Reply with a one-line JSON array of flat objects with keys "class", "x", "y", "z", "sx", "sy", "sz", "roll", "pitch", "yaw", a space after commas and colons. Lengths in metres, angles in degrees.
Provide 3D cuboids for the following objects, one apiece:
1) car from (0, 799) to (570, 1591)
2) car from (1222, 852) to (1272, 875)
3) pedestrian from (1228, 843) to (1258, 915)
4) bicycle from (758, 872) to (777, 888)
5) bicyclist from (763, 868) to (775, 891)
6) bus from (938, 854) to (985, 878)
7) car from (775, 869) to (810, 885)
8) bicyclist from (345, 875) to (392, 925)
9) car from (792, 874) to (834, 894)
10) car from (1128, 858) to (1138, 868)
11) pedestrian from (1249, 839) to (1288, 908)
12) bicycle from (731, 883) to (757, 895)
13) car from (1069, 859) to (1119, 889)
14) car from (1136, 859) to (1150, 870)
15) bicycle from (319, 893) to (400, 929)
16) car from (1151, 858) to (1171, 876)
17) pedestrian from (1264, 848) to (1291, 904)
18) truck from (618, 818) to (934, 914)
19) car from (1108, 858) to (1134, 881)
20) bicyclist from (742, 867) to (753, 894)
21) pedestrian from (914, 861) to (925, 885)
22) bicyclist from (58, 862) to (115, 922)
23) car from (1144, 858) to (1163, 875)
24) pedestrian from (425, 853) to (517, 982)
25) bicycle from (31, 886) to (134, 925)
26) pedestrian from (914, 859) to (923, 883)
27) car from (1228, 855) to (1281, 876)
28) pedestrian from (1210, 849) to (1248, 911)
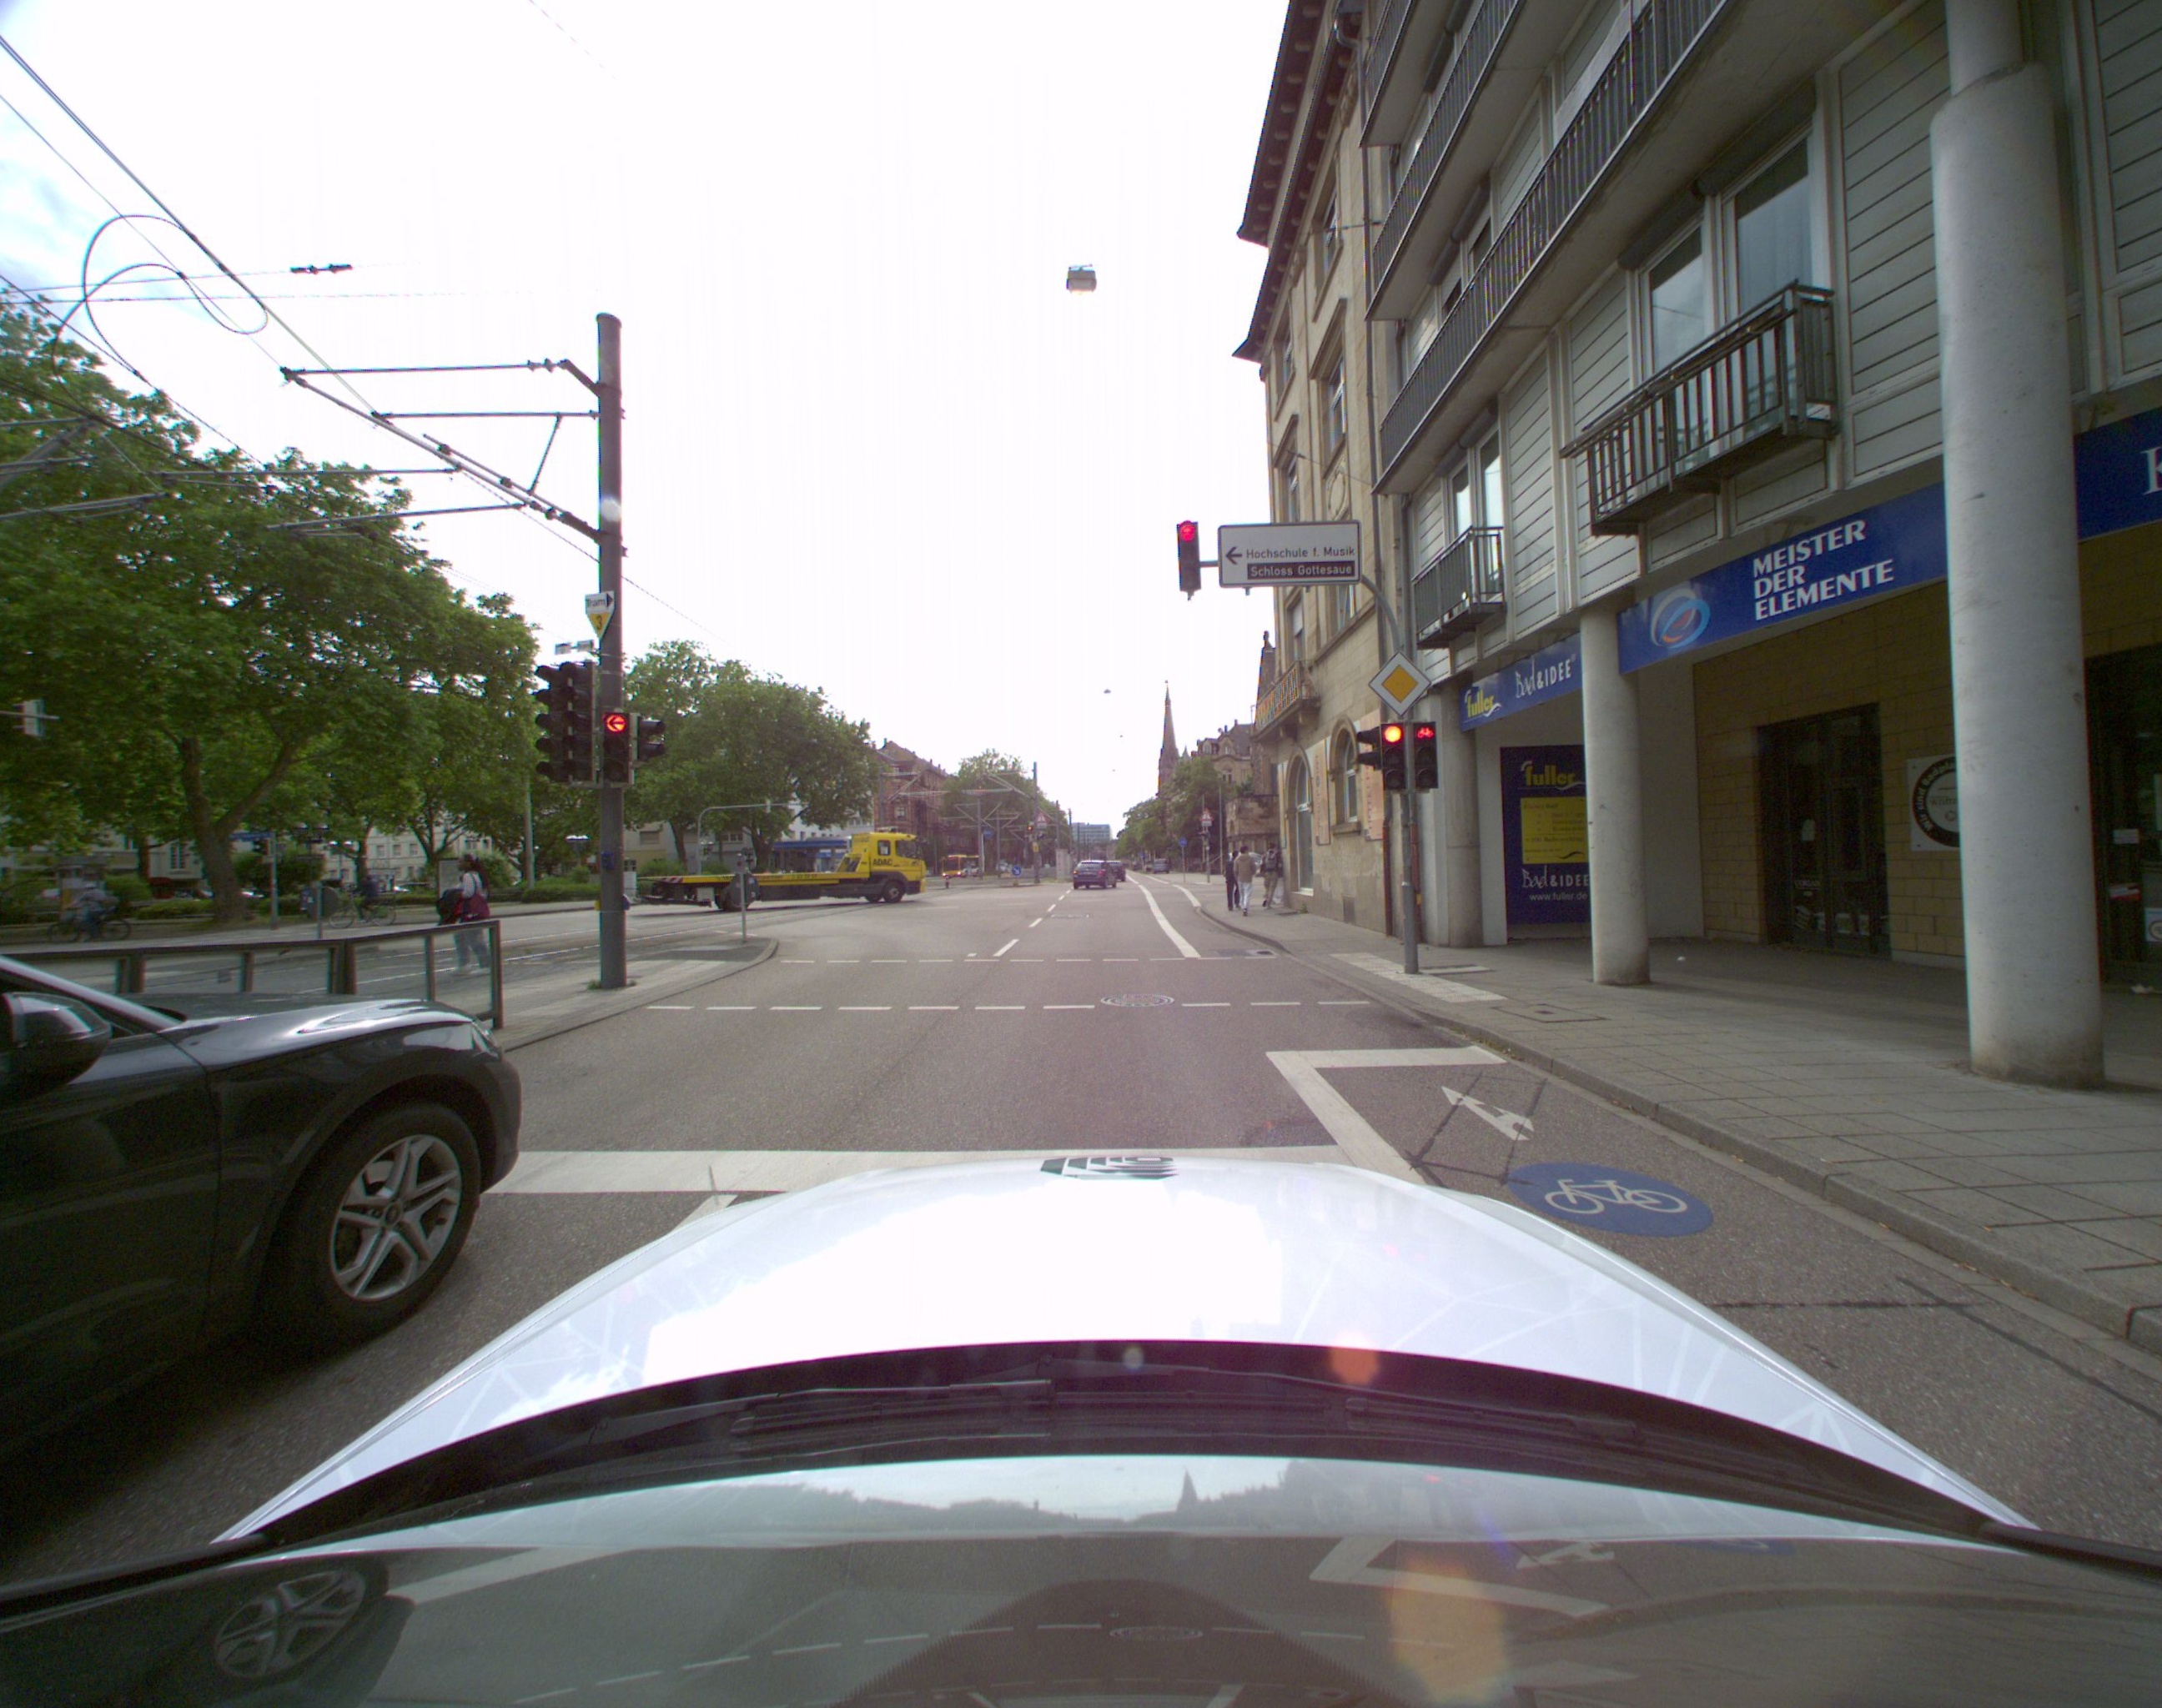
[{"class": "car", "x": -3.139, "y": 0.699, "z": 1.260, "sx": 1.873, "sy": 1.601, "sz": 4.358, "roll": -1, "pitch": -1, "yaw": 1}, {"class": "car", "x": 13.870, "y": 0.779, "z": 68.158, "sx": 3.785, "sy": 1.904, "sz": 2.001, "roll": 0, "pitch": -1, "yaw": 1}, {"class": "pedestrian", "x": 4.184, "y": 0.637, "z": 20.954, "sx": 0.578, "sy": 1.813, "sz": 1.020, "roll": 0, "pitch": -1, "yaw": 21}, {"class": "bicycle", "x": -21.465, "y": 1.786, "z": 55.774, "sx": 0.520, "sy": 1.017, "sz": 1.937, "roll": 0, "pitch": -1, "yaw": 2}, {"class": "bicyclist", "x": -21.458, "y": 1.776, "z": 55.996, "sx": 0.585, "sy": 1.568, "sz": 0.619, "roll": 0, "pitch": -1, "yaw": 1}, {"class": "bus", "x": -16.436, "y": 1.647, "z": 113.567, "sx": 3.068, "sy": 3.112, "sz": 13.120, "roll": 0, "pitch": -1, "yaw": 7}, {"class": "car", "x": -28.736, "y": 2.287, "z": 81.340, "sx": 1.986, "sy": 1.530, "sz": 4.001, "roll": 0, "pitch": -1, "yaw": 2}, {"class": "bicyclist", "x": -24.572, "y": 1.580, "z": 28.106, "sx": 1.041, "sy": 1.683, "sz": 0.641, "roll": 0, "pitch": -1, "yaw": -19}, {"class": "car", "x": -19.520, "y": 2.155, "z": 59.549, "sx": 1.628, "sy": 1.325, "sz": 4.001, "roll": 0, "pitch": -1, "yaw": 2}, {"class": "car", "x": 11.053, "y": 1.876, "z": 172.277, "sx": 1.986, "sy": 2.014, "sz": 4.001, "roll": 0, "pitch": -1, "yaw": 2}, {"class": "pedestrian", "x": 5.073, "y": 0.513, "z": 21.959, "sx": 0.620, "sy": 1.778, "sz": 1.141, "roll": -5, "pitch": -2, "yaw": 28}, {"class": "bicycle", "x": -22.858, "y": 2.380, "z": 55.237, "sx": 1.665, "sy": 0.773, "sz": 0.659, "roll": -1, "pitch": -1, "yaw": 22}, {"class": "car", "x": 0.721, "y": 1.007, "z": 42.178, "sx": 1.823, "sy": 1.469, "sz": 4.006, "roll": 0, "pitch": -1, "yaw": 12}, {"class": "car", "x": 9.729, "y": 1.675, "z": 128.457, "sx": 1.986, "sy": 1.607, "sz": 4.165, "roll": -3, "pitch": -1, "yaw": 1}, {"class": "bicycle", "x": -24.784, "y": 1.944, "z": 28.003, "sx": 1.943, "sy": 1.136, "sz": 0.731, "roll": 0, "pitch": -1, "yaw": -19}, {"class": "car", "x": 8.815, "y": 1.430, "z": 89.939, "sx": 1.986, "sy": 2.014, "sz": 4.001, "roll": 0, "pitch": -1, "yaw": 1}, {"class": "pedestrian", "x": 5.674, "y": 0.635, "z": 23.528, "sx": 0.696, "sy": 1.593, "sz": 0.833, "roll": 0, "pitch": -1, "yaw": 10}, {"class": "truck", "x": -10.493, "y": 0.362, "z": 28.963, "sx": 10.220, "sy": 2.941, "sz": 2.609, "roll": 0, "pitch": -1, "yaw": -34}, {"class": "car", "x": 2.827, "y": 1.072, "z": 58.362, "sx": 1.799, "sy": 1.586, "sz": 4.342, "roll": 0, "pitch": -1, "yaw": 2}, {"class": "bicyclist", "x": -22.641, "y": 1.804, "z": 55.262, "sx": 0.528, "sy": 1.784, "sz": 0.472, "roll": -1, "pitch": -1, "yaw": 21}, {"class": "pedestrian", "x": -10.306, "y": 1.189, "z": 51.960, "sx": 0.651, "sy": 1.537, "sz": 0.465, "roll": 0, "pitch": -1, "yaw": -3}, {"class": "bicyclist", "x": -30.892, "y": 1.165, "z": 25.310, "sx": 0.970, "sy": 1.819, "sz": 0.527, "roll": 0, "pitch": -1, "yaw": -27}, {"class": "car", "x": 8.837, "y": 1.548, "z": 99.645, "sx": 1.986, "sy": 2.014, "sz": 4.001, "roll": 0, "pitch": -1, "yaw": 1}, {"class": "pedestrian", "x": -8.371, "y": 0.830, "z": 11.182, "sx": 0.663, "sy": 1.680, "sz": 0.874, "roll": -1, "pitch": -1, "yaw": 40}, {"class": "bicycle", "x": -30.969, "y": 1.582, "z": 25.289, "sx": 1.910, "sy": 1.142, "sz": 0.623, "roll": 0, "pitch": -1, "yaw": -28}, {"class": "pedestrian", "x": -10.479, "y": 1.121, "z": 52.539, "sx": 0.544, "sy": 1.537, "sz": 0.465, "roll": 0, "pitch": -1, "yaw": -3}, {"class": "car", "x": 13.760, "y": 0.889, "z": 64.746, "sx": 3.785, "sy": 1.601, "sz": 2.001, "roll": 0, "pitch": -1, "yaw": 1}, {"class": "pedestrian", "x": 4.114, "y": 0.710, "z": 22.545, "sx": 0.620, "sy": 1.653, "sz": 1.003, "roll": -1, "pitch": -1, "yaw": 39}]
